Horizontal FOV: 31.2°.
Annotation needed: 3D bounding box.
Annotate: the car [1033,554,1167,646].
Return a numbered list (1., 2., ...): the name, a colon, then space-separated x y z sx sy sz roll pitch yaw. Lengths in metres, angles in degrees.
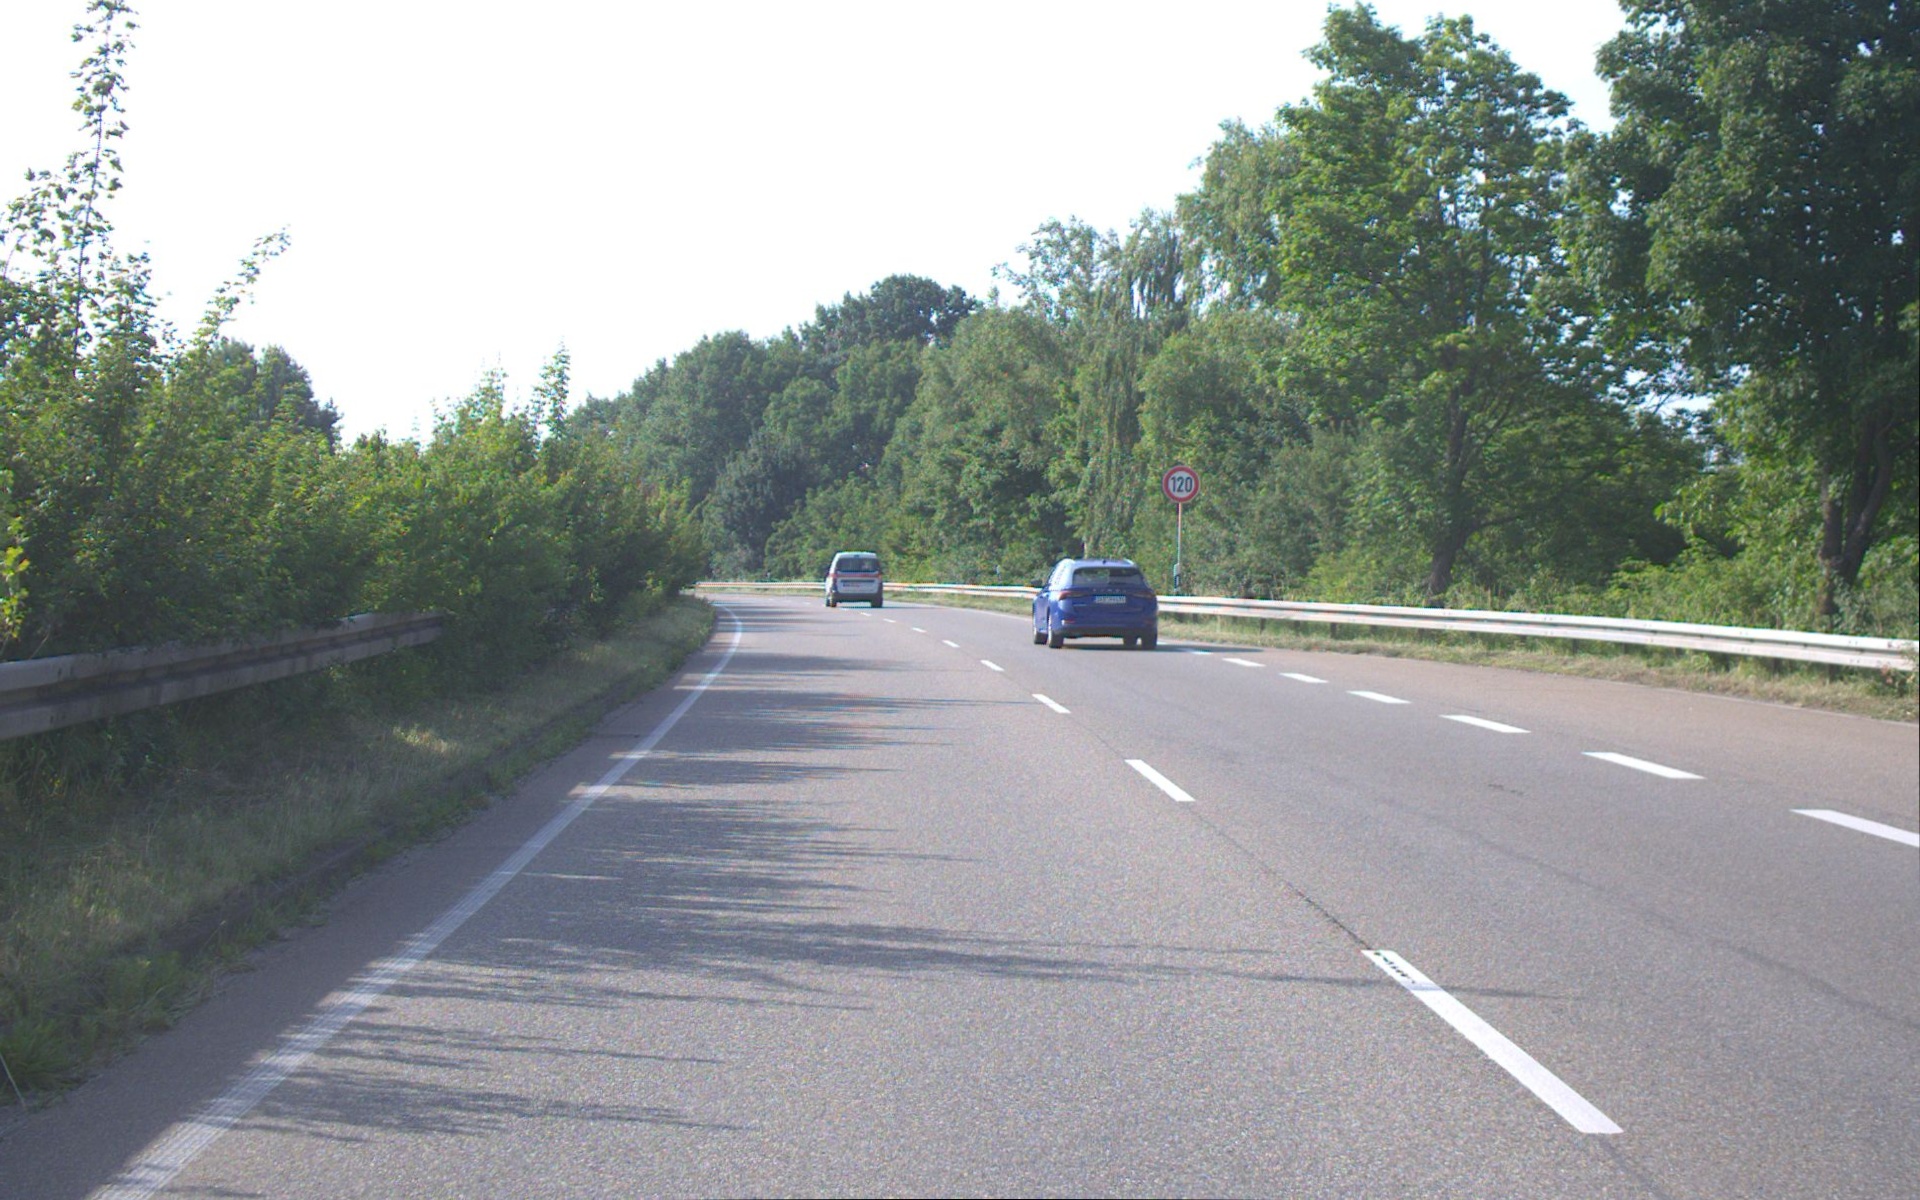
1. car: 2.270 -0.017 56.712 1.779 1.446 4.001 0 0 -4

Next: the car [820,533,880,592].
1. car: -3.604 -1.250 112.550 1.765 1.875 4.001 0 1 -5
